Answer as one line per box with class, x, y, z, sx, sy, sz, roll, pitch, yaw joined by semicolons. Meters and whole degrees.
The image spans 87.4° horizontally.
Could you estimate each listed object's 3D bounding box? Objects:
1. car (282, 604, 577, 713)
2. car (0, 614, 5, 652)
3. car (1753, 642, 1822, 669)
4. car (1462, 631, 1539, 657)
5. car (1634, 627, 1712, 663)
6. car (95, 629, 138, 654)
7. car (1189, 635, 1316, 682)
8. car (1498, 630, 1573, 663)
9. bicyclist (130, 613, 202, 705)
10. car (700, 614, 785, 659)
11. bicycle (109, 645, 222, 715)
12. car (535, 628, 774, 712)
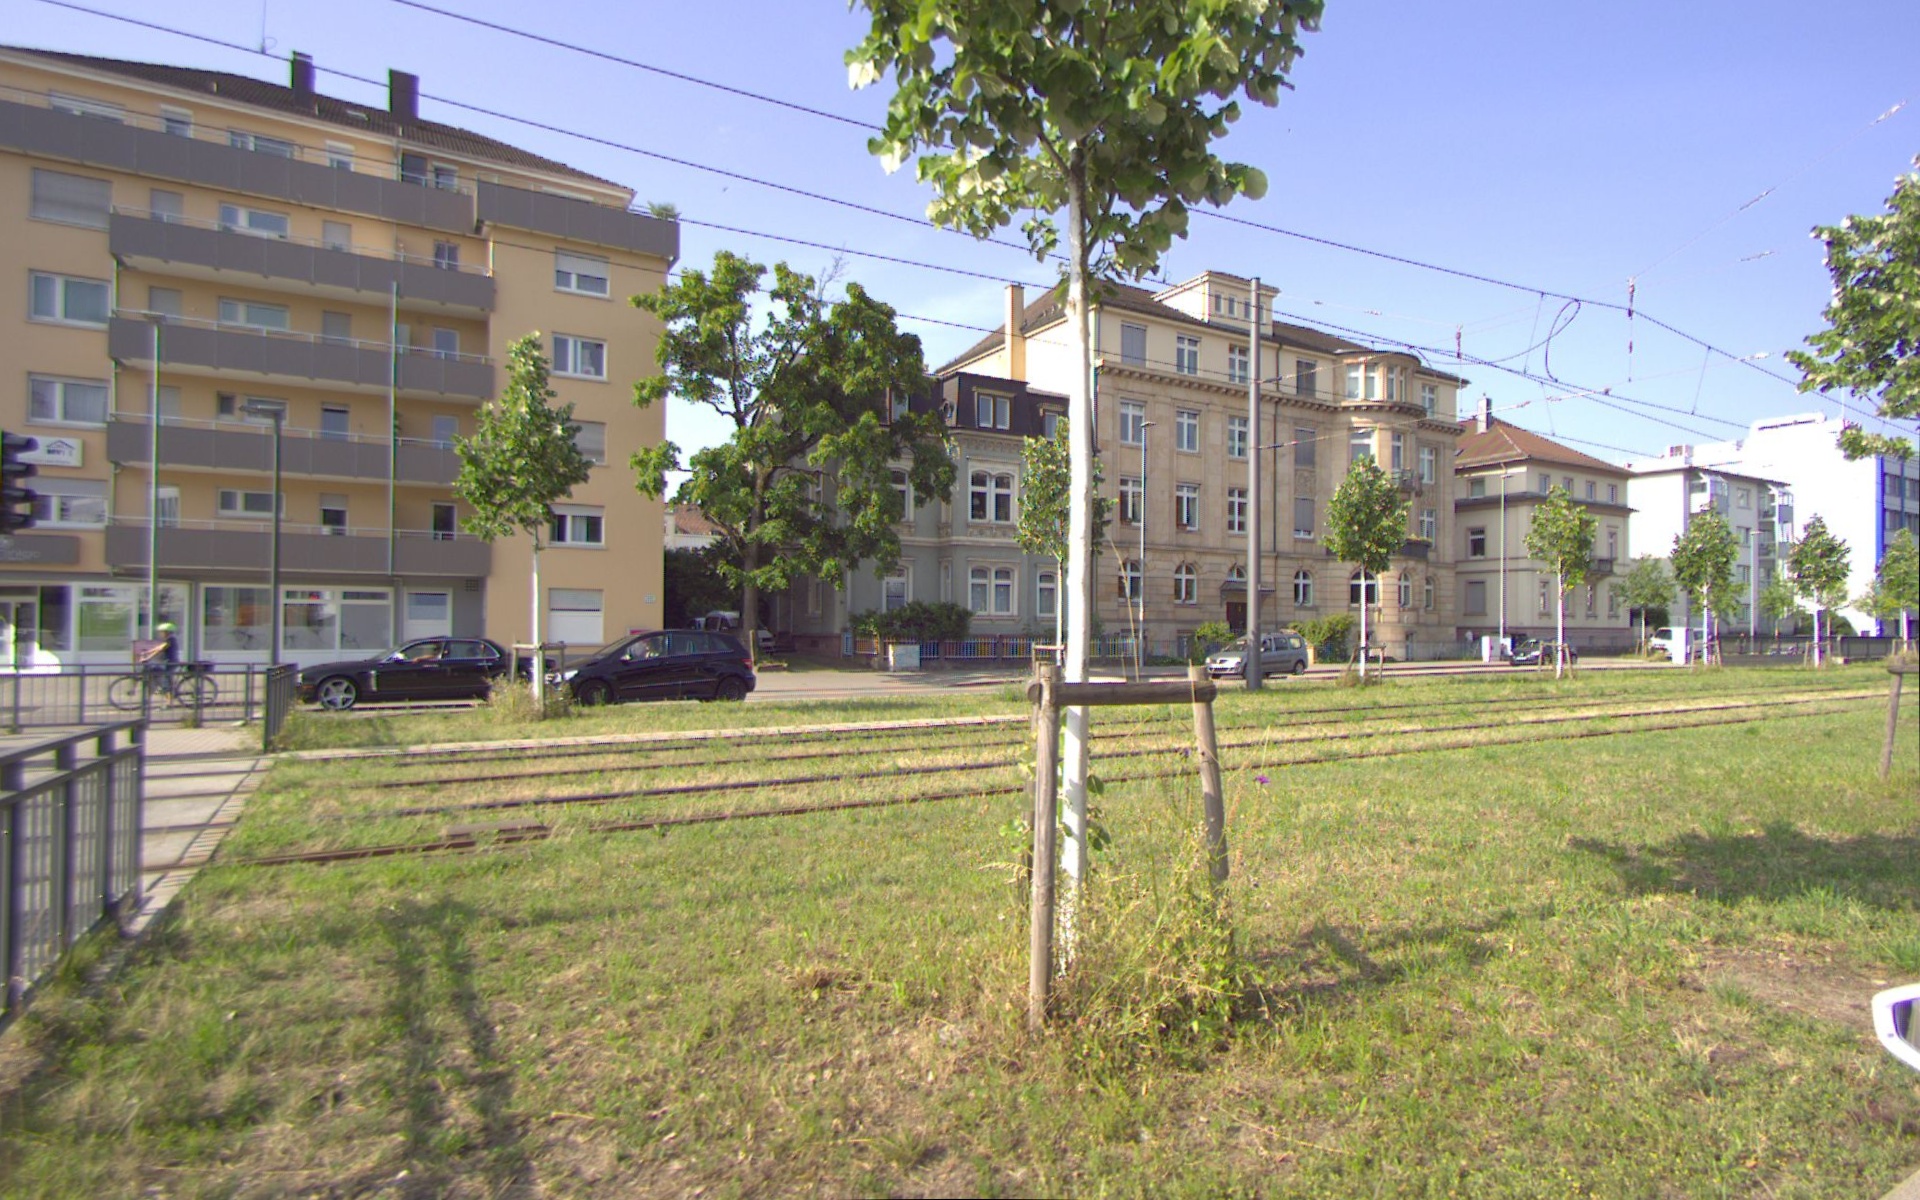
car;-11.026;1.172;21.136;5.245;2.040;1.982;1;-2;-33
car;-51.313;1.700;52.028;1.791;2.040;3.967;1;-2;-31
car;51.627;3.474;62.638;4.387;1.486;1.984;3;-2;-31
car;33.760;2.703;62.875;1.637;1.572;3.963;1;-2;-34
car;45.549;2.896;64.140;5.206;2.040;2.237;3;0;-32
car;-56.929;2.809;67.863;1.797;1.625;3.915;1;-2;-34
car;10.688;2.088;36.645;4.478;1.597;1.983;1;-2;-32
car;27.604;2.196;48.137;3.782;1.483;1.510;0;-1;-33
bicyclist;-16.284;1.196;20.616;1.072;1.829;0.665;1;-1;-34
car;-9.253;1.527;42.466;2.141;1.771;4.606;1;-2;-31
bicycle;-16.270;1.609;20.628;1.740;1.364;0.690;1;-2;-36
car;-6.253;1.372;20.683;4.350;1.533;1.983;1;-2;-33
